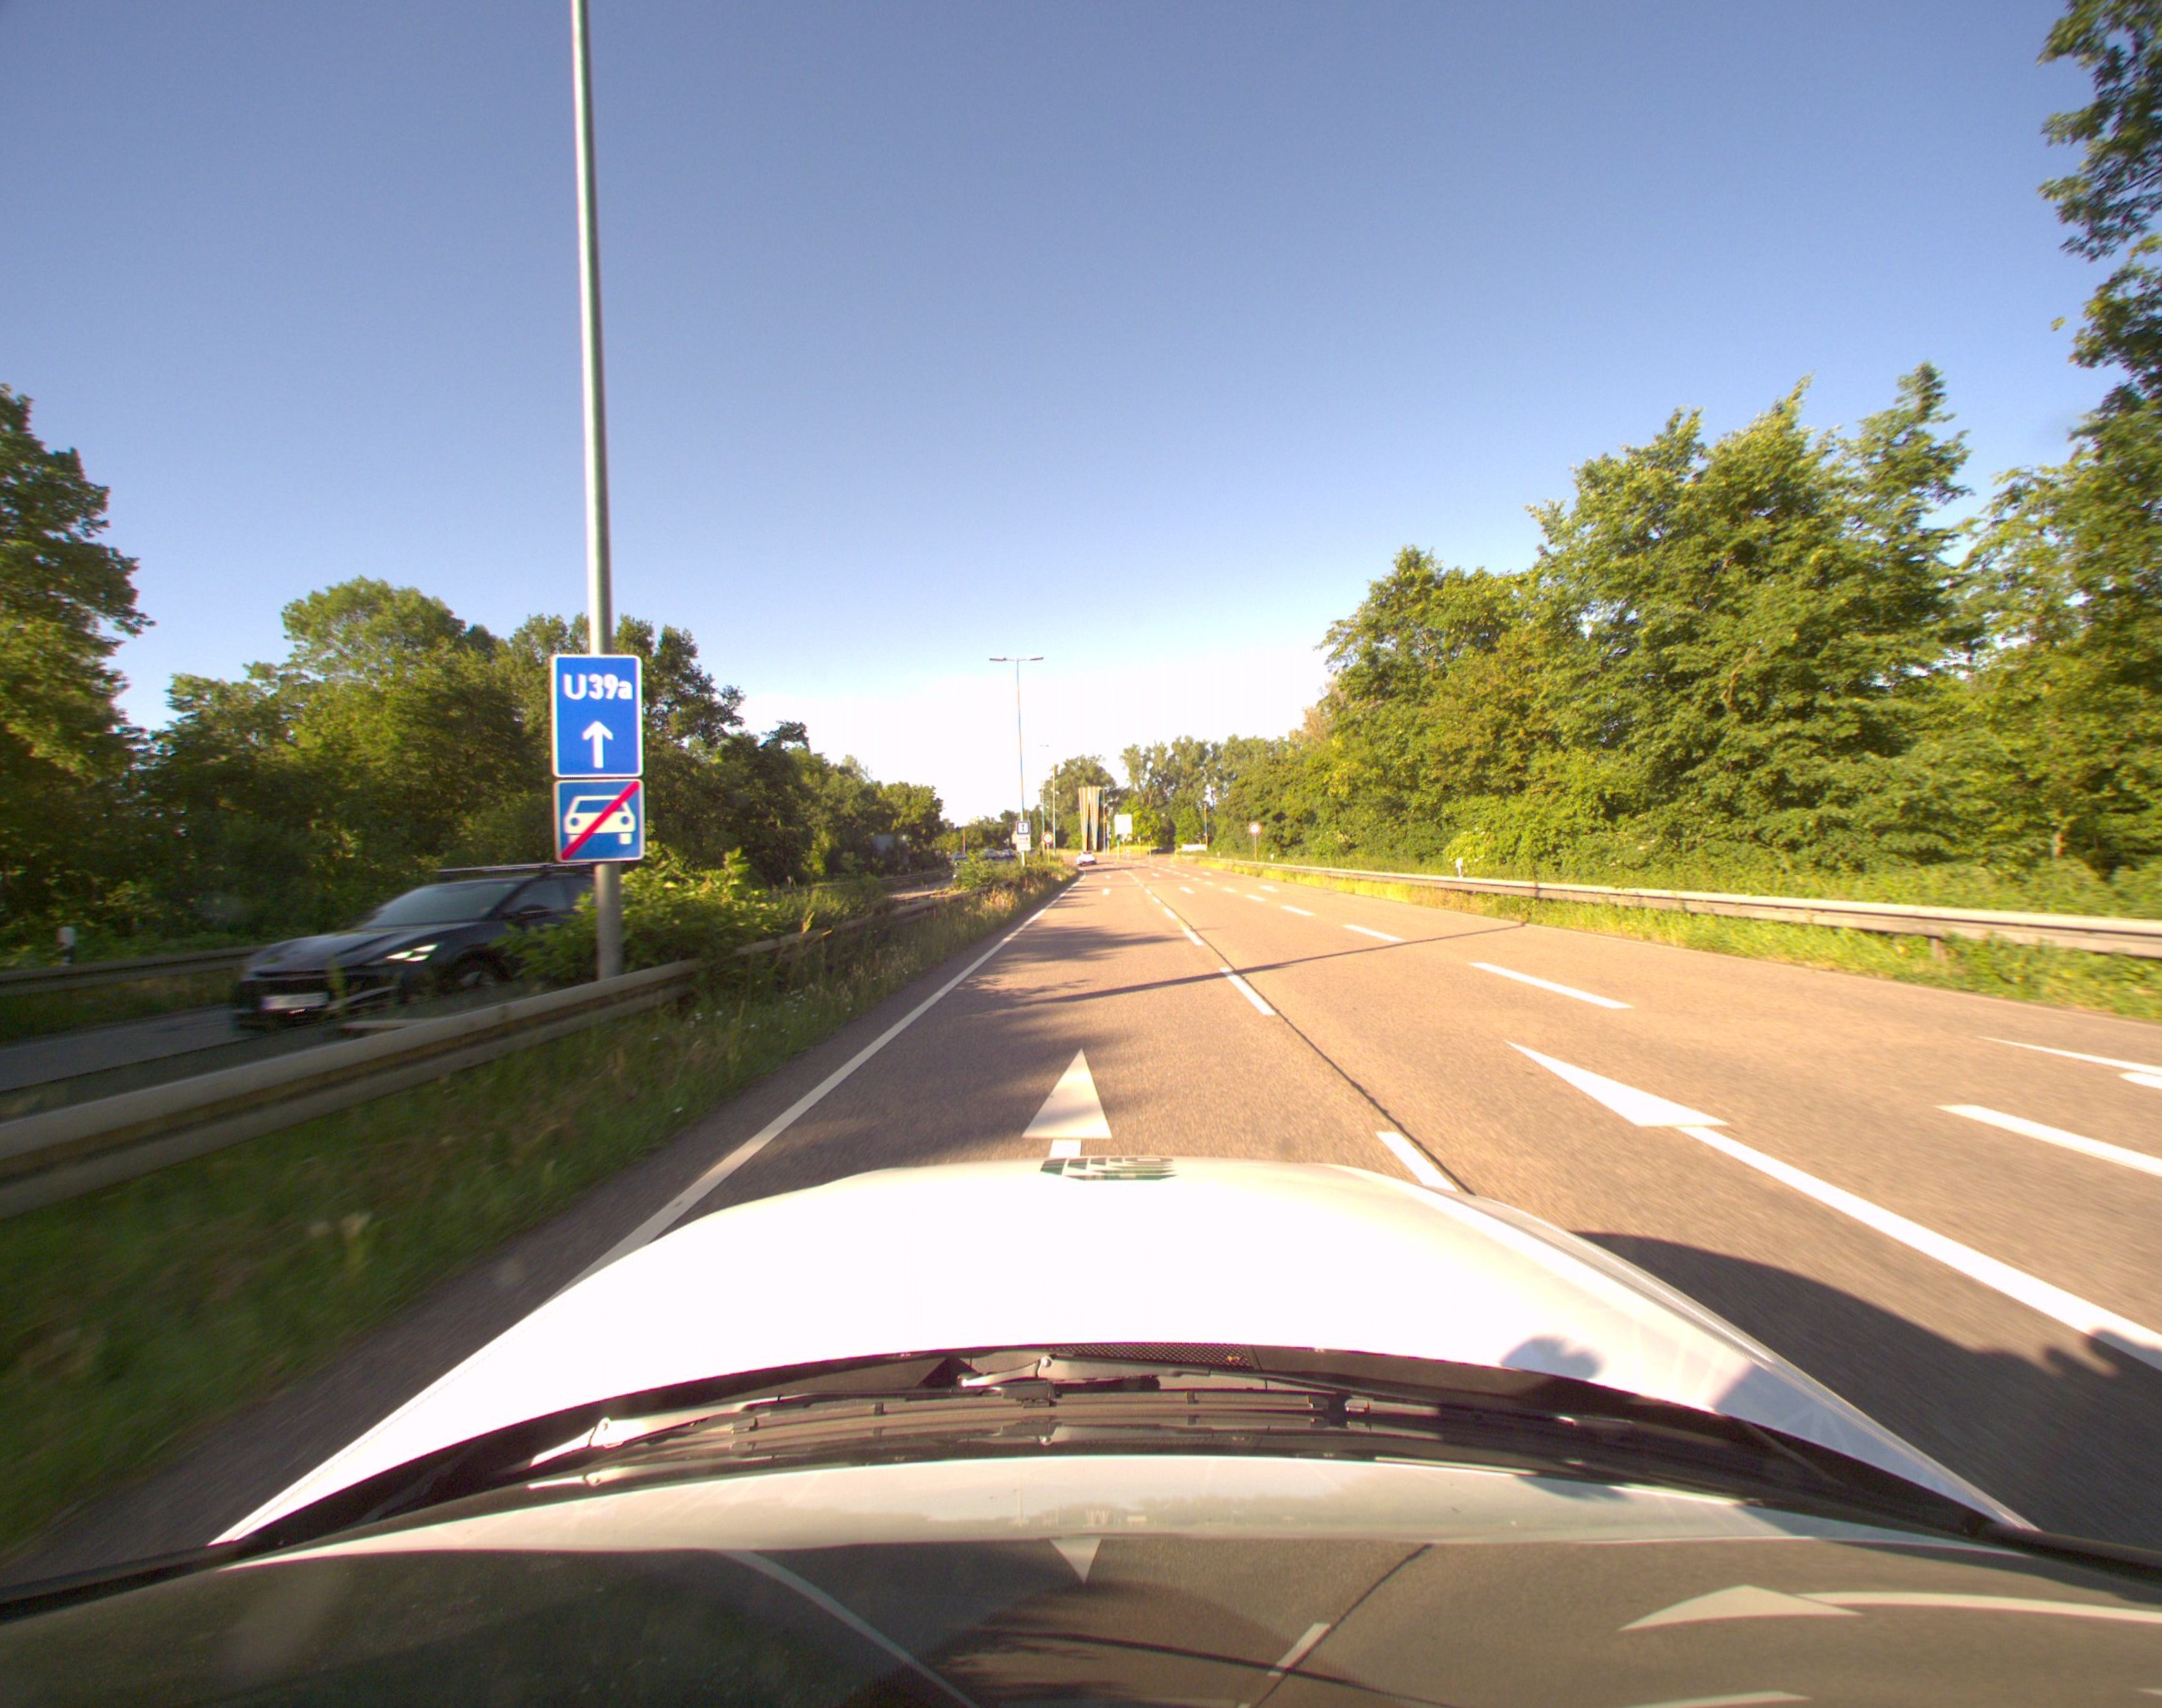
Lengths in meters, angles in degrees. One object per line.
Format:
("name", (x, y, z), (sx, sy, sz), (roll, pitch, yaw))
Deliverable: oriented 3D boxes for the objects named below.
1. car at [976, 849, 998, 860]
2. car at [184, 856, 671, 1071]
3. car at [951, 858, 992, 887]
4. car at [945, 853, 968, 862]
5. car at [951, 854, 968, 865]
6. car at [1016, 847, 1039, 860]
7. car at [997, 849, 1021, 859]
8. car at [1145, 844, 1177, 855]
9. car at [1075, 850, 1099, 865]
("car", (-16.303, 0.091, 141.154), (1.985, 1.698, 3.955), (-3, 1, -37))
("car", (-6.710, 0.946, 9.167), (1.827, 1.772, 4.340), (-2, 0, 2))
("car", (-6.633, 1.101, 49.701), (1.763, 1.569, 4.219), (-3, 0, 1))
("car", (-23.044, 0.581, 150.844), (2.286, 1.508, 3.952), (-2, 0, -42))
("car", (-17.316, 0.819, 115.620), (1.889, 1.420, 4.343), (-4, 0, -14))
("car", (-8.514, -0.120, 128.432), (2.005, 1.879, 4.210), (-3, 1, -28))
("car", (-12.608, 0.024, 142.795), (1.987, 1.474, 4.104), (-3, 2, -43))
("car", (12.292, -0.661, 125.131), (4.454, 1.464, 1.995), (-2, 1, -7))
("car", (0.678, 0.351, 93.503), (1.993, 1.640, 4.115), (-3, 1, -9))
